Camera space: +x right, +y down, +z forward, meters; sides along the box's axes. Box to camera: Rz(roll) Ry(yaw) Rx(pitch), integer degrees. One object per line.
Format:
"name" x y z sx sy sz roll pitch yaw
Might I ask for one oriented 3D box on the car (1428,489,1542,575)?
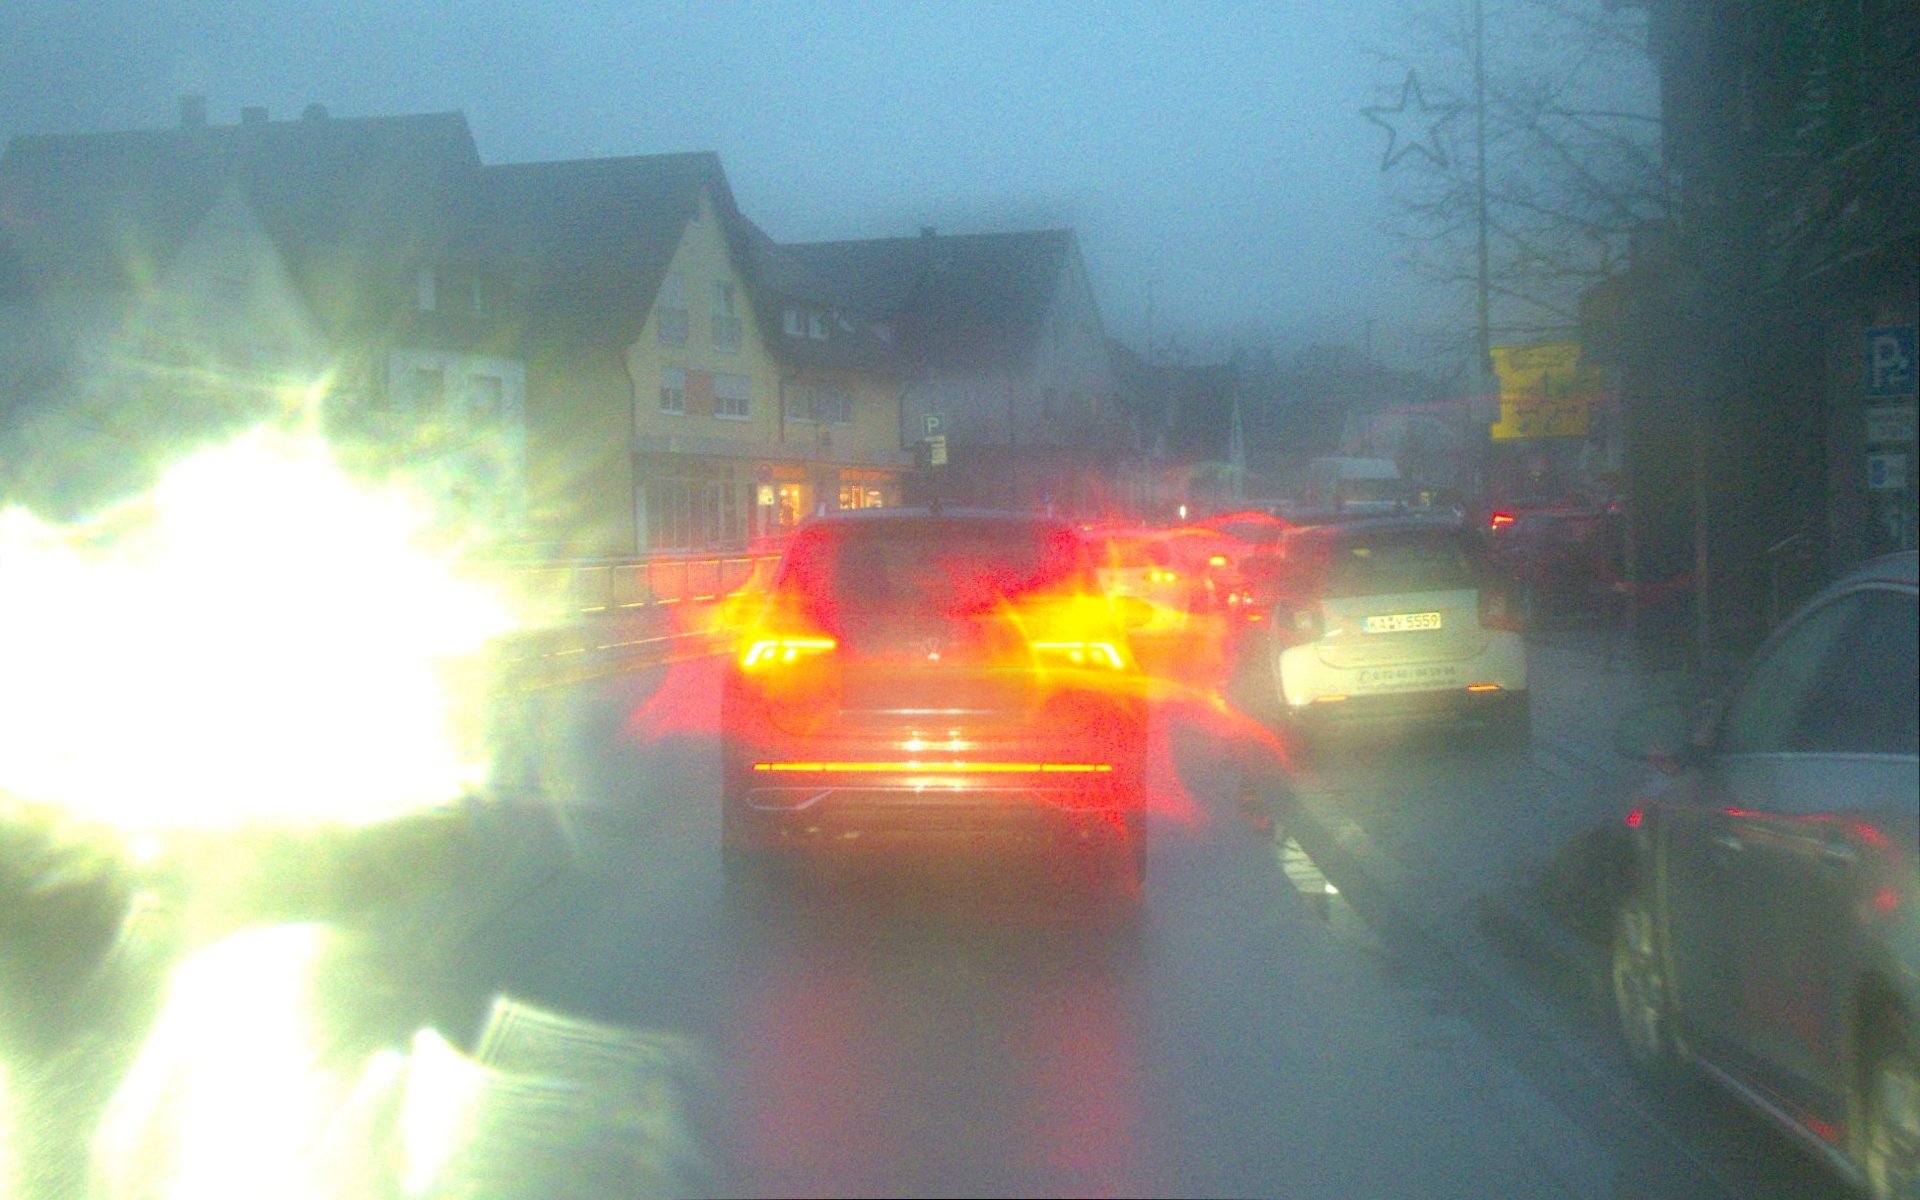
"car" 13.393 -1.752 87.511 2.159 1.984 4.496 -4 1 16

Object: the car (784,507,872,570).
"car" -3.590 -1.683 92.768 1.821 1.607 4.058 -2 2 -10

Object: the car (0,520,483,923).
"car" -3.262 0.432 15.266 1.732 1.531 3.781 1 1 0

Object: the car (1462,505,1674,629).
"car" 7.583 -0.436 43.198 1.765 1.389 3.914 -3 1 -2

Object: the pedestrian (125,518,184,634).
"pedestrian" -11.851 -0.354 50.606 0.664 1.692 0.541 0 2 13

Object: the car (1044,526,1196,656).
"car" 1.881 -0.149 41.385 1.682 1.448 4.000 1 1 1

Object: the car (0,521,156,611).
"car" -18.653 -0.676 69.968 3.988 1.688 1.864 -2 2 9

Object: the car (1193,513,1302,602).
"car" 4.955 -0.763 59.413 1.814 1.407 4.000 0 2 5

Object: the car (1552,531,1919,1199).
"car" 2.536 0.585 7.547 1.652 1.450 4.238 -3 1 0

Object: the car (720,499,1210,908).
"car" -0.105 0.350 15.932 1.964 1.589 4.314 0 2 -3

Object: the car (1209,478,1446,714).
"car" 3.176 -0.086 29.449 1.770 1.776 3.999 -4 1 7

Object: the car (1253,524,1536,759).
"car" 2.933 0.240 23.646 1.645 1.410 2.727 -3 2 3

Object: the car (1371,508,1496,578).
"car" 10.135 -1.230 73.334 1.995 1.387 3.997 -1 2 17

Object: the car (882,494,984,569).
"car" -0.753 -1.857 92.078 2.037 1.919 4.058 -2 2 -10

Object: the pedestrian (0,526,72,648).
"pedestrian" -13.822 -0.207 50.931 0.928 1.778 0.973 0 2 13
